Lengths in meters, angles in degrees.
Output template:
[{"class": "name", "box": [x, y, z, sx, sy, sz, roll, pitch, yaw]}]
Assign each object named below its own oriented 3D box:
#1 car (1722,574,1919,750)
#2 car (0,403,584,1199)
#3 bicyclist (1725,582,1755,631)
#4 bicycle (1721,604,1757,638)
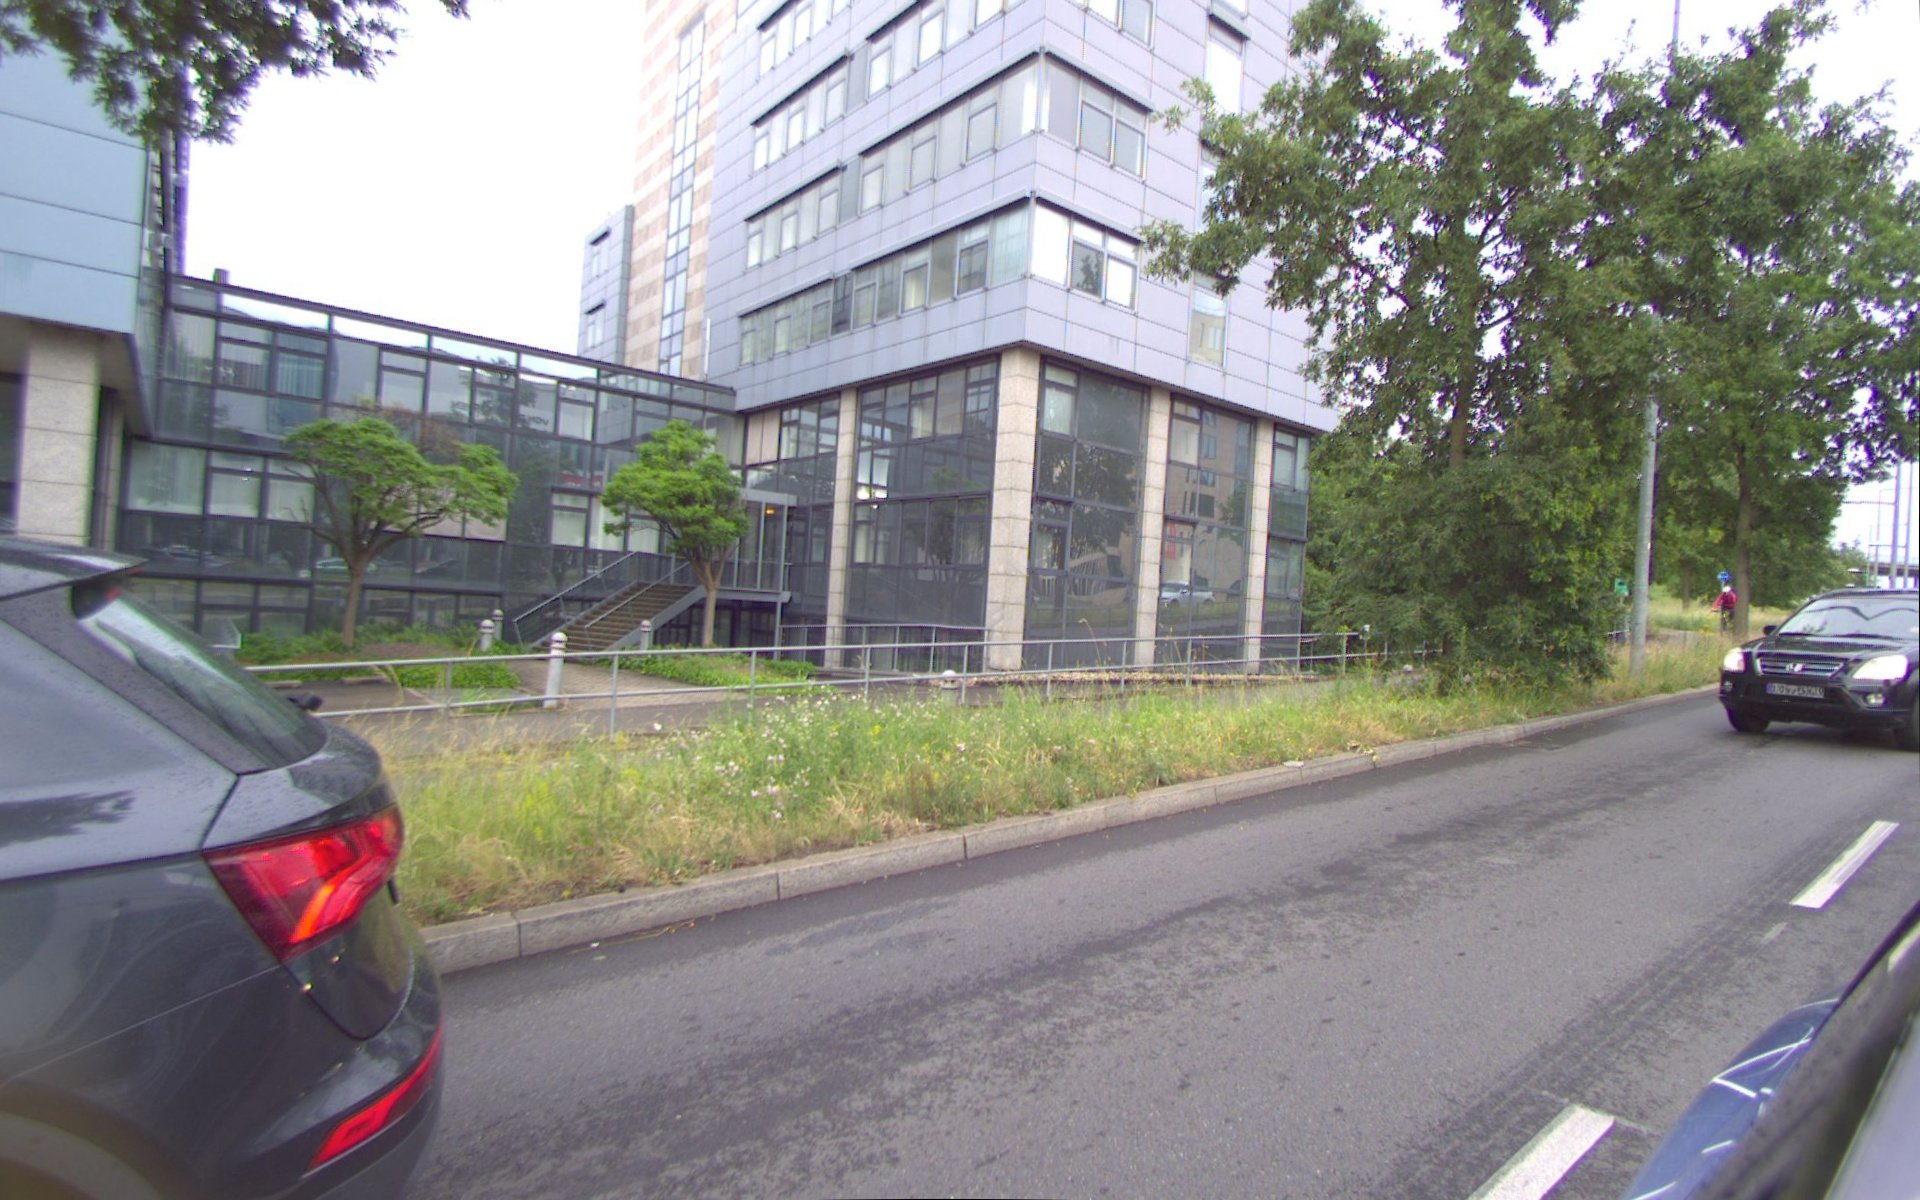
[{"class": "car", "box": [10.715, 0.589, 11.323, 4.249, 1.679, 1.763, 0, 1, -26]}, {"class": "car", "box": [-2.908, 0.546, 1.017, 4.392, 1.633, 1.821, 0, 1, -41]}, {"class": "bicyclist", "box": [25.961, 0.203, 33.688, 0.839, 1.599, 0.647, 1, -1, -41]}, {"class": "bicycle", "box": [25.945, 0.696, 33.702, 1.872, 1.102, 0.581, 1, -1, -41]}]
